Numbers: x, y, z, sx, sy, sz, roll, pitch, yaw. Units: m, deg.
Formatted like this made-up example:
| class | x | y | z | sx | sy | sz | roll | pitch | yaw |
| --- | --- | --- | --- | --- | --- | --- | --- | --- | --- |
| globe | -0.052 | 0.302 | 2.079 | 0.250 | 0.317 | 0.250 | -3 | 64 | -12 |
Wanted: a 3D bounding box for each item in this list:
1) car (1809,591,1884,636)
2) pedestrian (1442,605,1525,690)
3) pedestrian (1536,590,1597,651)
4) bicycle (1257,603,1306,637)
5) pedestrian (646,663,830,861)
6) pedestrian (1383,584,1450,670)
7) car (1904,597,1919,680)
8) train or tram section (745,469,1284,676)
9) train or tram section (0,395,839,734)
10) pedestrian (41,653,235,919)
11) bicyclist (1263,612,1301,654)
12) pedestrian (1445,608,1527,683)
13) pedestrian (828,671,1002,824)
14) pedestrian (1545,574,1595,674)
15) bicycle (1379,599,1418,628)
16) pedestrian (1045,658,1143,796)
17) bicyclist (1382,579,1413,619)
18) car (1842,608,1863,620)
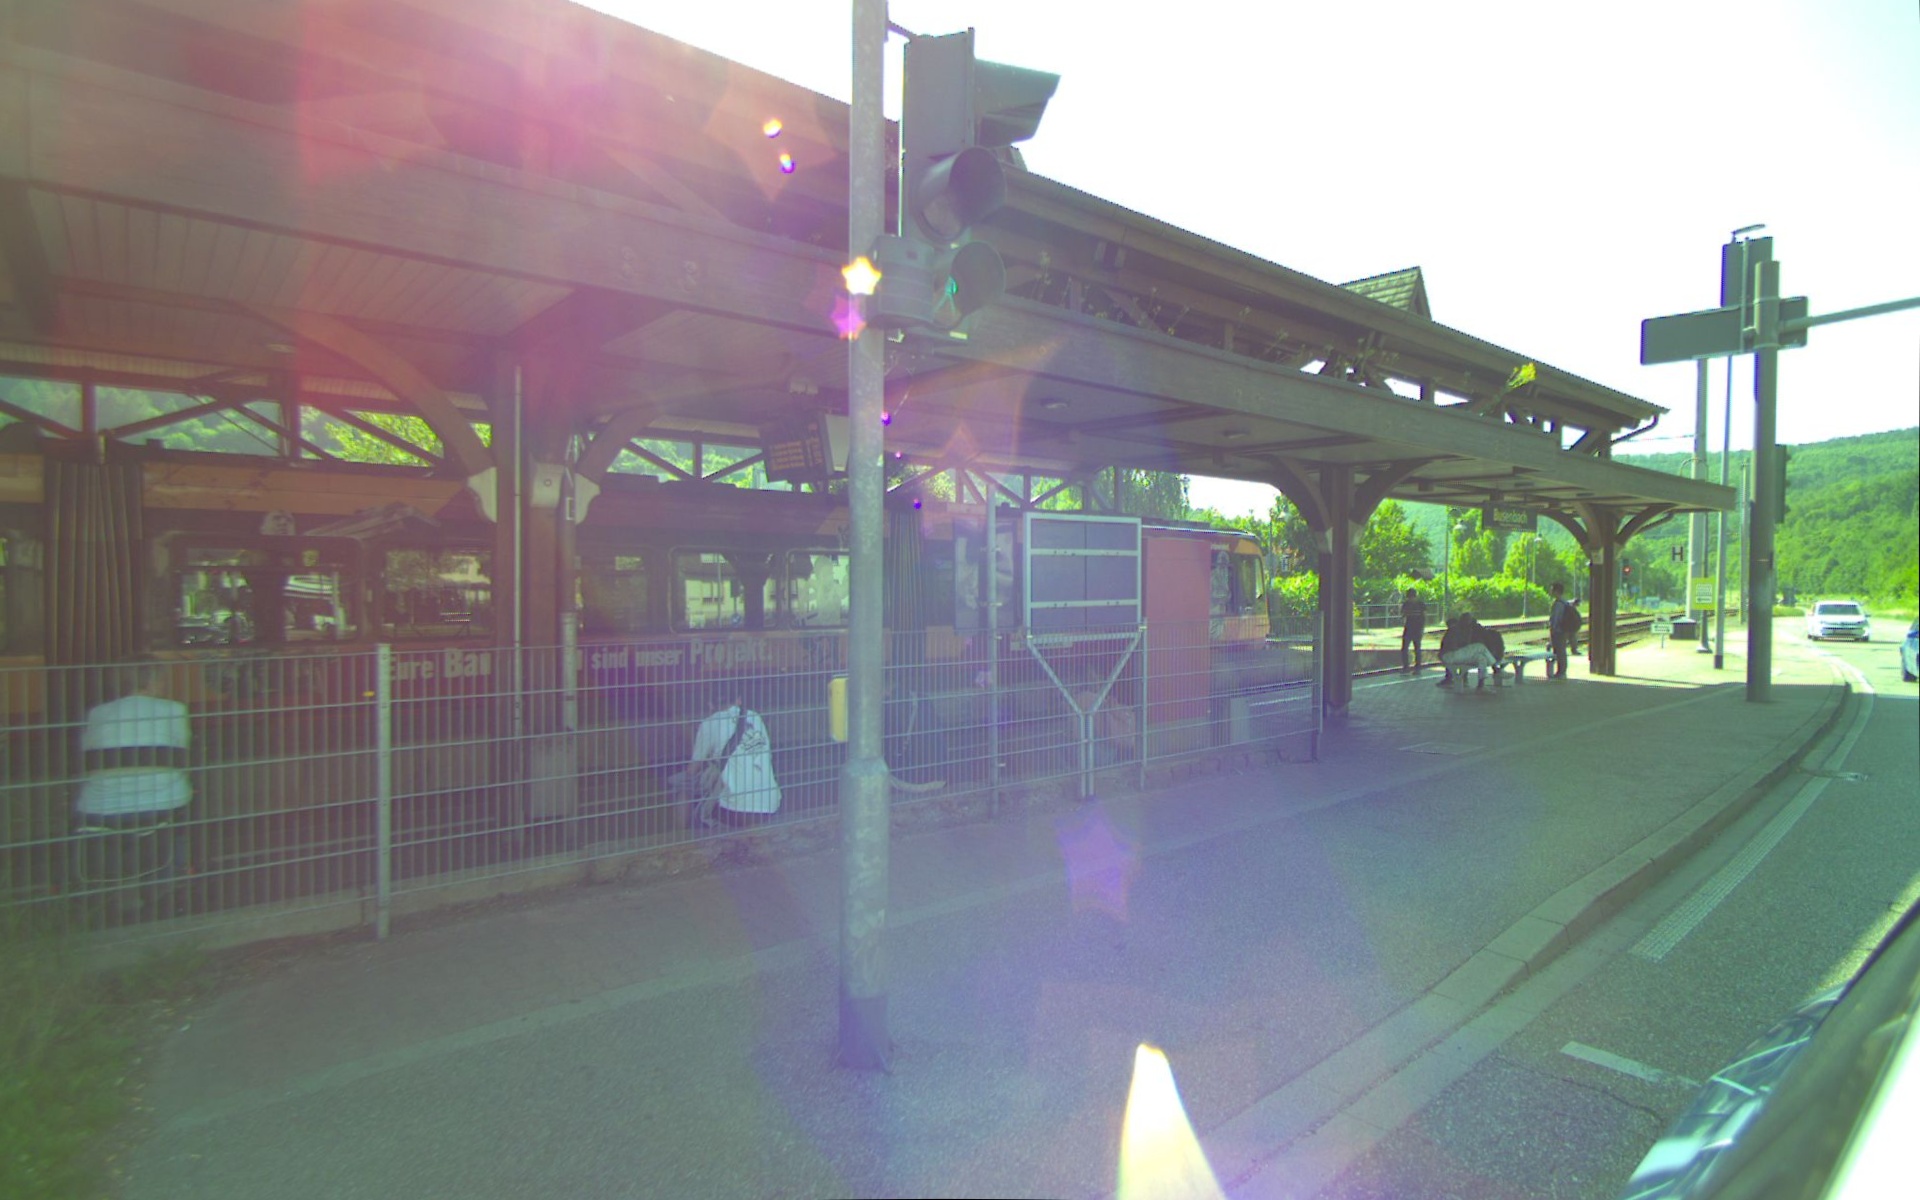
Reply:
| class | x | y | z | sx | sy | sz | roll | pitch | yaw |
| --- | --- | --- | --- | --- | --- | --- | --- | --- | --- |
| car | 33.523 | 0.517 | 38.299 | 1.991 | 1.605 | 3.940 | -3 | -2 | 41 |
| pedestrian | 7.982 | 0.722 | 15.442 | 0.989 | 1.252 | 0.587 | -3 | -4 | 40 |
| pedestrian | 18.066 | 0.632 | 30.182 | 0.899 | 1.759 | 1.251 | 1 | -3 | -34 |
| bicycle | 12.268 | 0.783 | 38.577 | 0.870 | 1.270 | 2.259 | -3 | -3 | 43 |
| pedestrian | -1.270 | 0.872 | 5.790 | 0.756 | 0.995 | 0.742 | 2 | -4 | -43 |
| pedestrian | 8.566 | 0.496 | 19.000 | 0.906 | 1.567 | 0.862 | 2 | -2 | -42 |
| car | 18.201 | 0.699 | 17.851 | 1.856 | 1.501 | 4.243 | 0 | 0 | 38 |
| train or tram section | 2.174 | -0.437 | 22.454 | 14.108 | 3.408 | 2.859 | 0 | -1 | -42 |
| train or tram section | -7.407 | -0.342 | 13.906 | 11.837 | 3.408 | 2.790 | 0 | -2 | -41 |
| pedestrian | -3.975 | 0.831 | 4.890 | 0.656 | 1.131 | 0.742 | 2 | -4 | -43 |
| bicyclist | 12.274 | 1.270 | 38.537 | 1.006 | 1.574 | 1.024 | -3 | -4 | 43 |
| pedestrian | 8.595 | 0.721 | 16.522 | 1.005 | 1.174 | 0.935 | -1 | -1 | 40 |
| pedestrian | -0.300 | 0.930 | 6.689 | 0.794 | 0.885 | 0.845 | 2 | -4 | -43 |
| pedestrian | 10.825 | 0.413 | 17.952 | 0.656 | 1.713 | 0.728 | 0 | -1 | 40 |
| bicycle | 19.753 | 0.636 | 45.601 | 0.870 | 1.270 | 2.259 | -3 | -3 | 43 |
| pedestrian | 1.007 | 0.936 | 7.652 | 0.400 | 0.978 | 0.617 | 2 | -4 | -43 |
| bicyclist | 19.736 | -0.038 | 45.615 | 1.006 | 1.749 | 0.852 | -3 | -4 | 43 |
| car | 143.625 | 2.249 | 162.856 | 1.985 | 1.706 | 3.951 | -2 | -3 | 33 |
